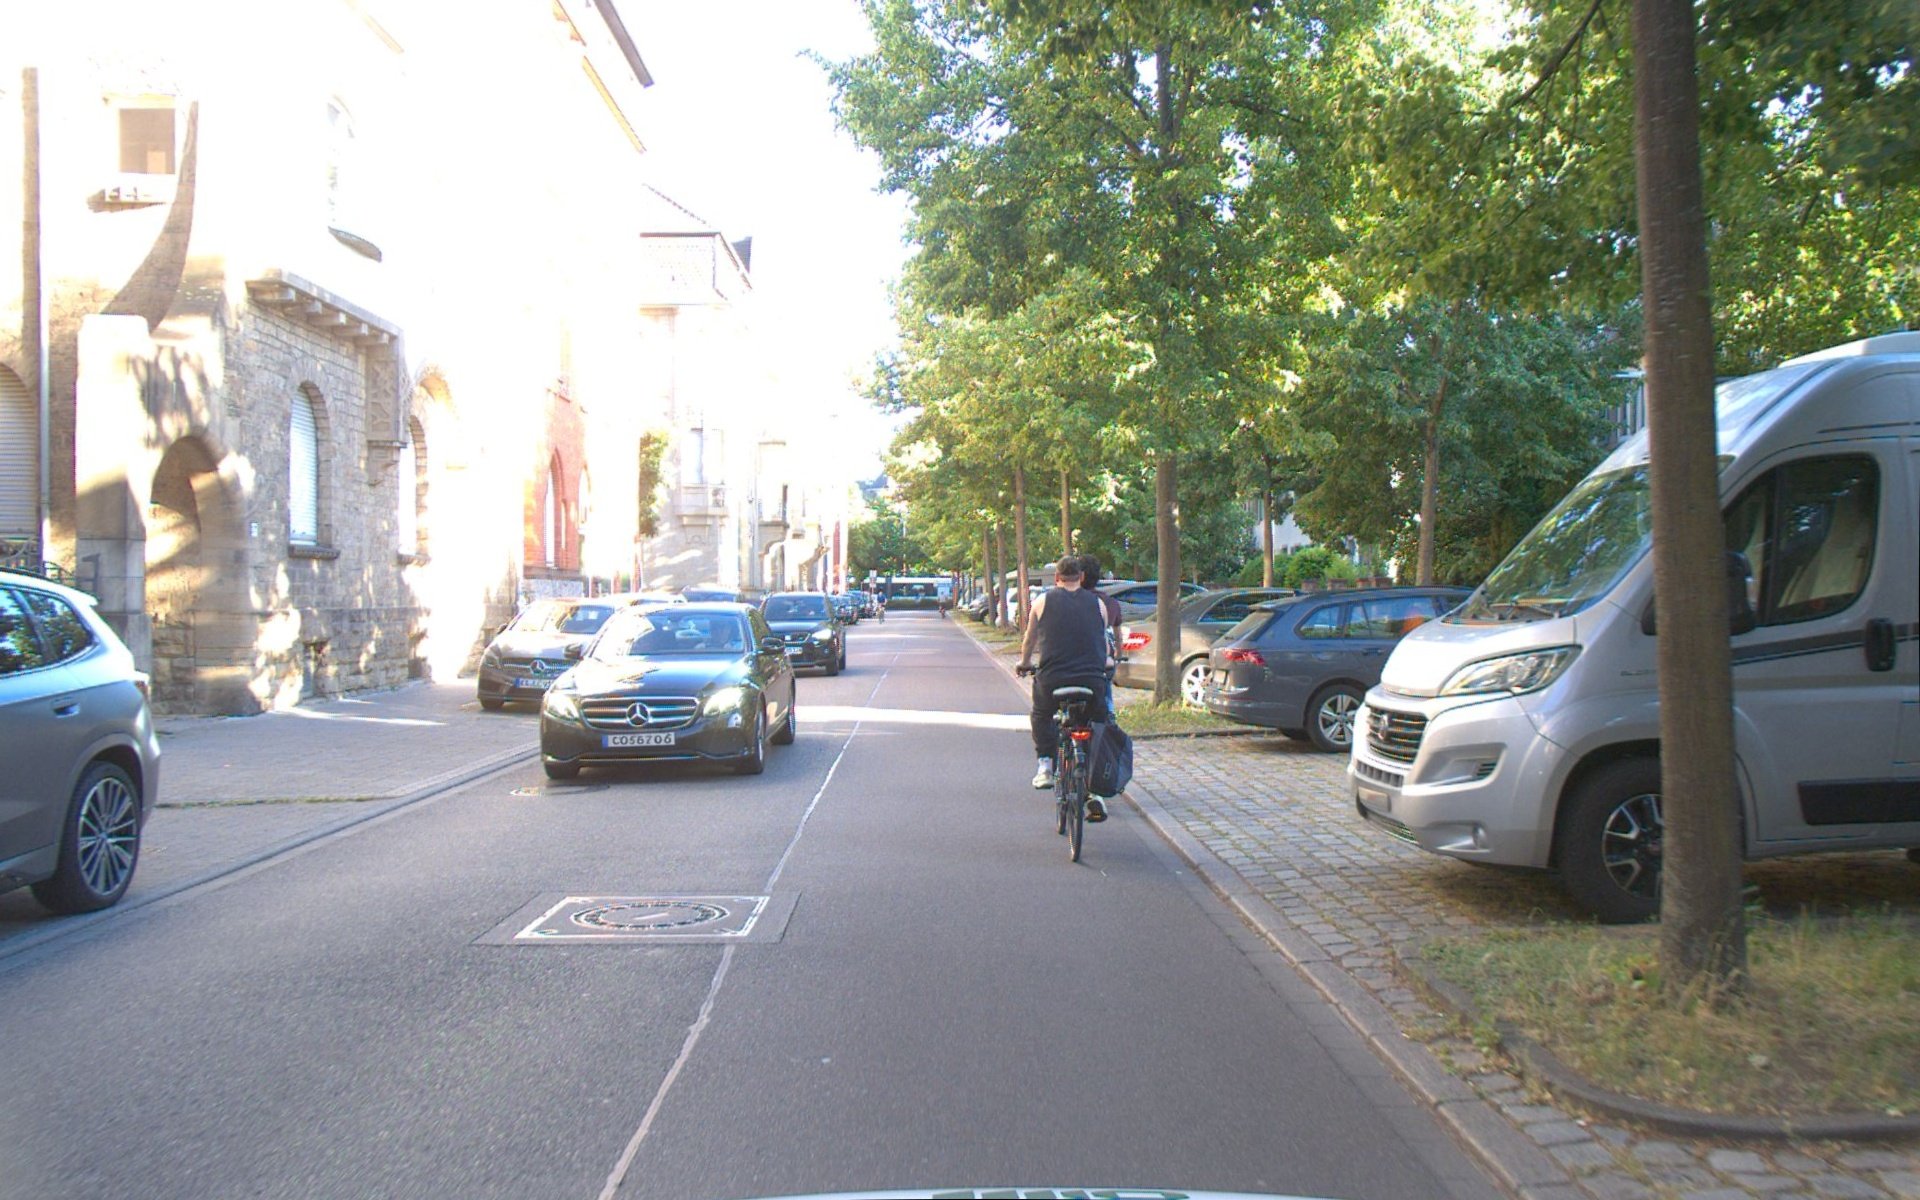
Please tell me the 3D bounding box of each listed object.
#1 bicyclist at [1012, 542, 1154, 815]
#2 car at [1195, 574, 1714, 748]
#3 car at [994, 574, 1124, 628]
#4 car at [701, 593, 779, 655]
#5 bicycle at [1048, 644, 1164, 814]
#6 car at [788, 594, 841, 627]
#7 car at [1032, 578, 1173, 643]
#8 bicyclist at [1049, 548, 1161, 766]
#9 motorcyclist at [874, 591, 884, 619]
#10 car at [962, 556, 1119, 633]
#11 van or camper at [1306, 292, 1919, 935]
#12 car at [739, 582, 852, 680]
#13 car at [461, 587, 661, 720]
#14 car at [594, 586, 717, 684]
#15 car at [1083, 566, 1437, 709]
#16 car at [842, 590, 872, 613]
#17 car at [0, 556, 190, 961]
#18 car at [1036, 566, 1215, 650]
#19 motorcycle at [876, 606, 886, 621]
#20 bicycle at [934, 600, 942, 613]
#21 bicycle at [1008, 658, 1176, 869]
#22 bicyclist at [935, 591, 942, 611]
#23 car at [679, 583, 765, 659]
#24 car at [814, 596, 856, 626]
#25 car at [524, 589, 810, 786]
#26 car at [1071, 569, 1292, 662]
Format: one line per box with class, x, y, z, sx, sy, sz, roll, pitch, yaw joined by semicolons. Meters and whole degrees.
bicyclist;0.719;0.451;9.936;0.692;1.553;0.971;0;-1;-5
car;4.592;0.557;15.833;4.410;1.478;1.816;-1;-1;0
car;3.635;0.063;61.297;4.660;1.811;1.854;-2;-1;0
car;-5.924;0.627;44.922;1.583;1.508;4.017;3;0;-1
bicycle;1.046;0.905;12.237;0.544;1.091;1.967;0;0;-4
car;-6.018;0.451;68.788;1.931;1.343;3.999;0;-1;-1
car;4.384;0.319;51.207;4.156;1.828;1.854;-2;-1;0
bicyclist;1.063;0.413;12.302;0.704;1.553;0.971;0;-1;-2
motorcyclist;-4.374;0.260;89.404;0.540;1.474;0.688;-1;0;-4
car;3.738;-0.261;78.009;7.183;3.339;2.223;-2;-1;0
van or camper;4.745;-0.030;8.130;5.463;2.581;2.267;-3;-1;-3
car;-3.049;0.559;31.304;1.731;1.627;4.089;-3;0;-1
car;-5.324;0.676;22.583;1.719;1.544;4.113;3;0;-1
car;-5.322;0.592;29.282;1.461;1.544;3.774;3;0;-1
car;3.799;0.470;21.380;4.160;1.634;1.752;-2;-1;-4
car;-7.309;0.105;117.433;1.953;1.557;3.999;0;-1;-1
car;-4.900;0.649;6.362;2.009;1.650;4.392;0;-1;-3
car;4.025;0.203;40.679;4.156;1.872;1.854;-2;-1;0
motorcycle;-4.266;0.733;89.456;0.540;0.815;1.307;-1;0;-4
bicycle;-1.483;0.409;110.864;0.530;0.842;1.918;0;-1;-1
bicycle;0.745;0.918;9.947;0.682;1.091;1.966;0;-1;-5
bicyclist;-1.445;0.071;110.803;0.408;1.374;0.430;0;-1;-1
car;-5.587;0.498;39.254;1.598;1.694;3.966;0;-1;-2
car;-6.647;0.584;88.299;1.953;1.557;3.999;0;-1;-1
car;-2.482;0.711;15.060;1.858;1.512;4.380;0;-1;-1
car;4.388;0.307;33.275;4.156;1.676;1.854;-2;-1;0
